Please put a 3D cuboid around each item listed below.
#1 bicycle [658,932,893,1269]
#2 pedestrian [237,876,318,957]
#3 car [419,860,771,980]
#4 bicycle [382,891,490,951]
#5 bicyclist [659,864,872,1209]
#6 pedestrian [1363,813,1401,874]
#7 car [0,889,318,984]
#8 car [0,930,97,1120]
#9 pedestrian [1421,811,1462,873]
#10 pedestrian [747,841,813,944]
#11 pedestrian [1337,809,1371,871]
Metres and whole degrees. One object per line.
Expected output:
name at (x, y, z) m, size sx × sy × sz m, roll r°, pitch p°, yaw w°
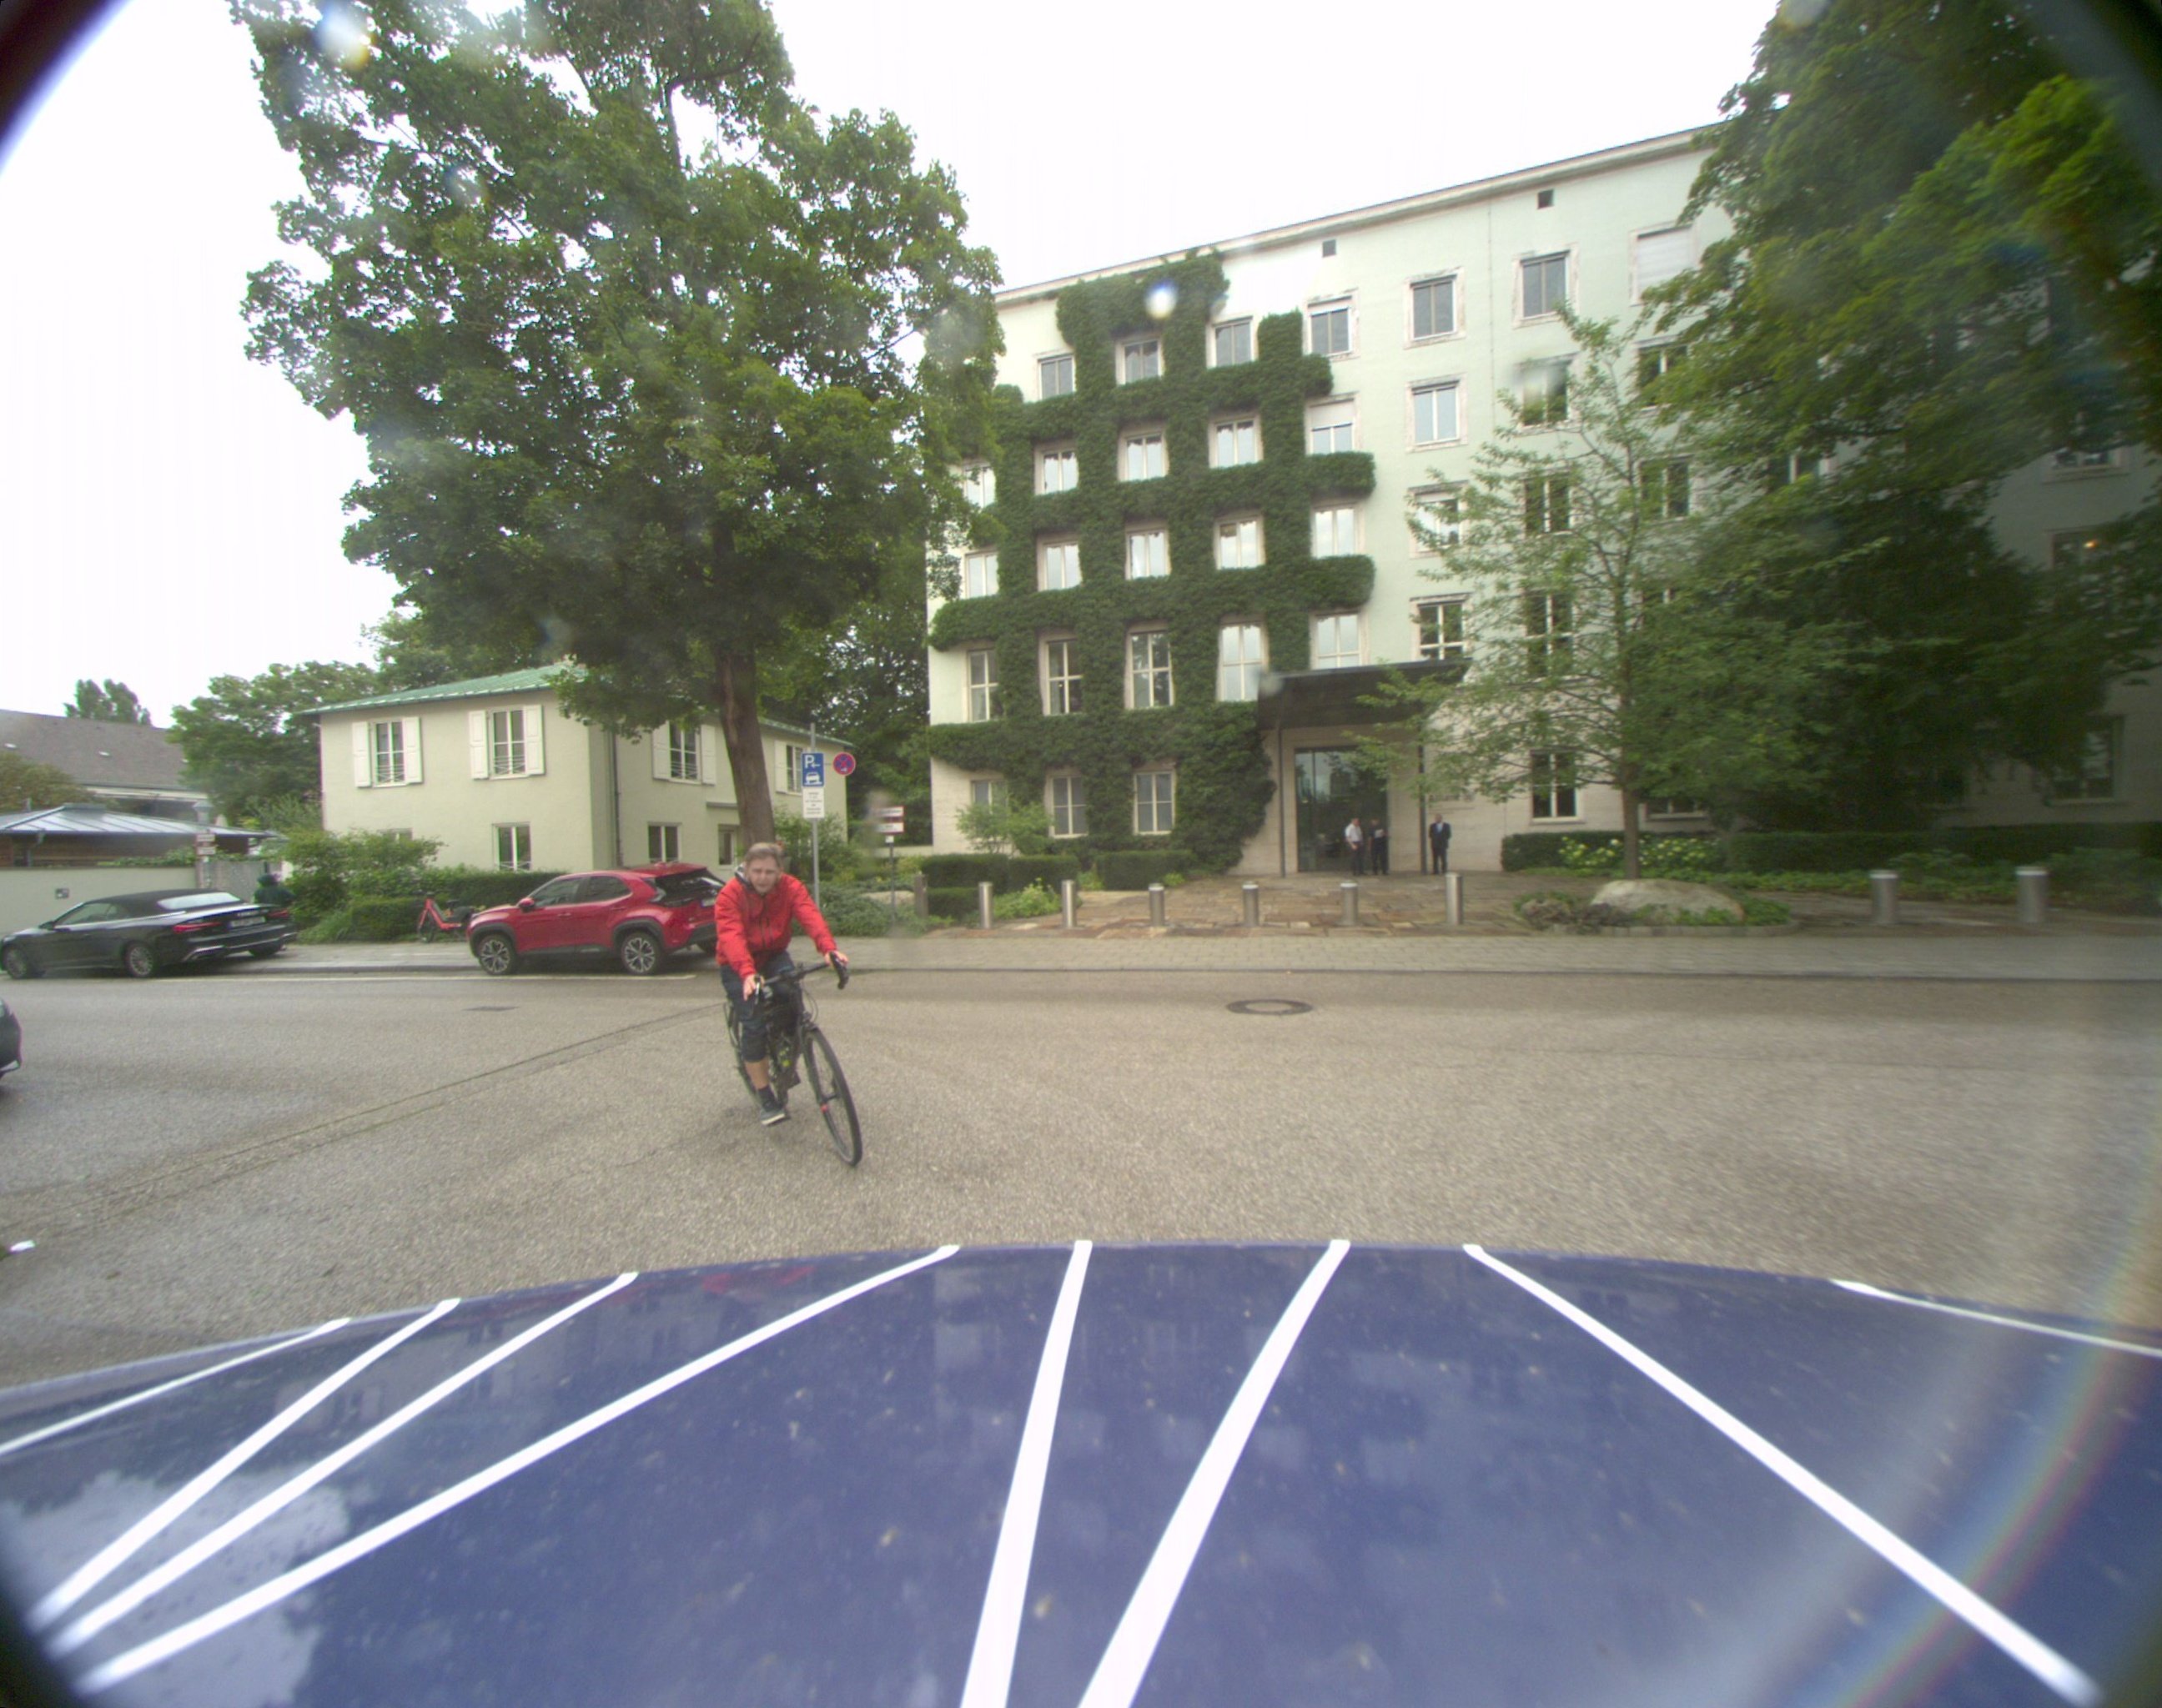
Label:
bicycle at (-1.739, 1.108, 4.096) m, size 0.675 × 1.135 × 2.005 m, roll -4°, pitch 3°, yaw -35°
pedestrian at (-16.096, 1.239, 15.240) m, size 0.751 × 1.540 × 0.716 m, roll -2°, pitch 3°, yaw 8°
car at (-7.530, 1.002, 11.964) m, size 4.520 × 1.581 × 1.894 m, roll -2°, pitch 2°, yaw 11°
bicycle at (-13.015, 1.347, 15.332) m, size 2.043 × 1.124 × 0.652 m, roll -2°, pitch 1°, yaw 18°
bicyclist at (-1.665, 0.817, 3.957) m, size 0.758 × 1.475 × 0.979 m, roll -4°, pitch 3°, yaw -35°
pedestrian at (8.862, -0.301, 22.396) m, size 0.900 × 1.743 × 0.753 m, roll -1°, pitch 1°, yaw 9°
car at (-17.057, 1.477, 13.840) m, size 4.917 × 1.394 × 1.814 m, roll -2°, pitch 2°, yaw 9°
car at (-10.010, 1.292, 5.299) m, size 4.588 × 1.311 × 2.009 m, roll -2°, pitch -2°, yaw 11°
pedestrian at (10.398, -0.346, 21.952) m, size 0.900 × 1.743 × 0.753 m, roll -1°, pitch 1°, yaw 9°
pedestrian at (-5.626, 0.705, 14.223) m, size 0.795 × 1.842 × 0.715 m, roll -2°, pitch 2°, yaw 12°
pedestrian at (8.000, -0.413, 22.278) m, size 0.751 × 1.743 × 0.901 m, roll -2°, pitch 1°, yaw 11°
